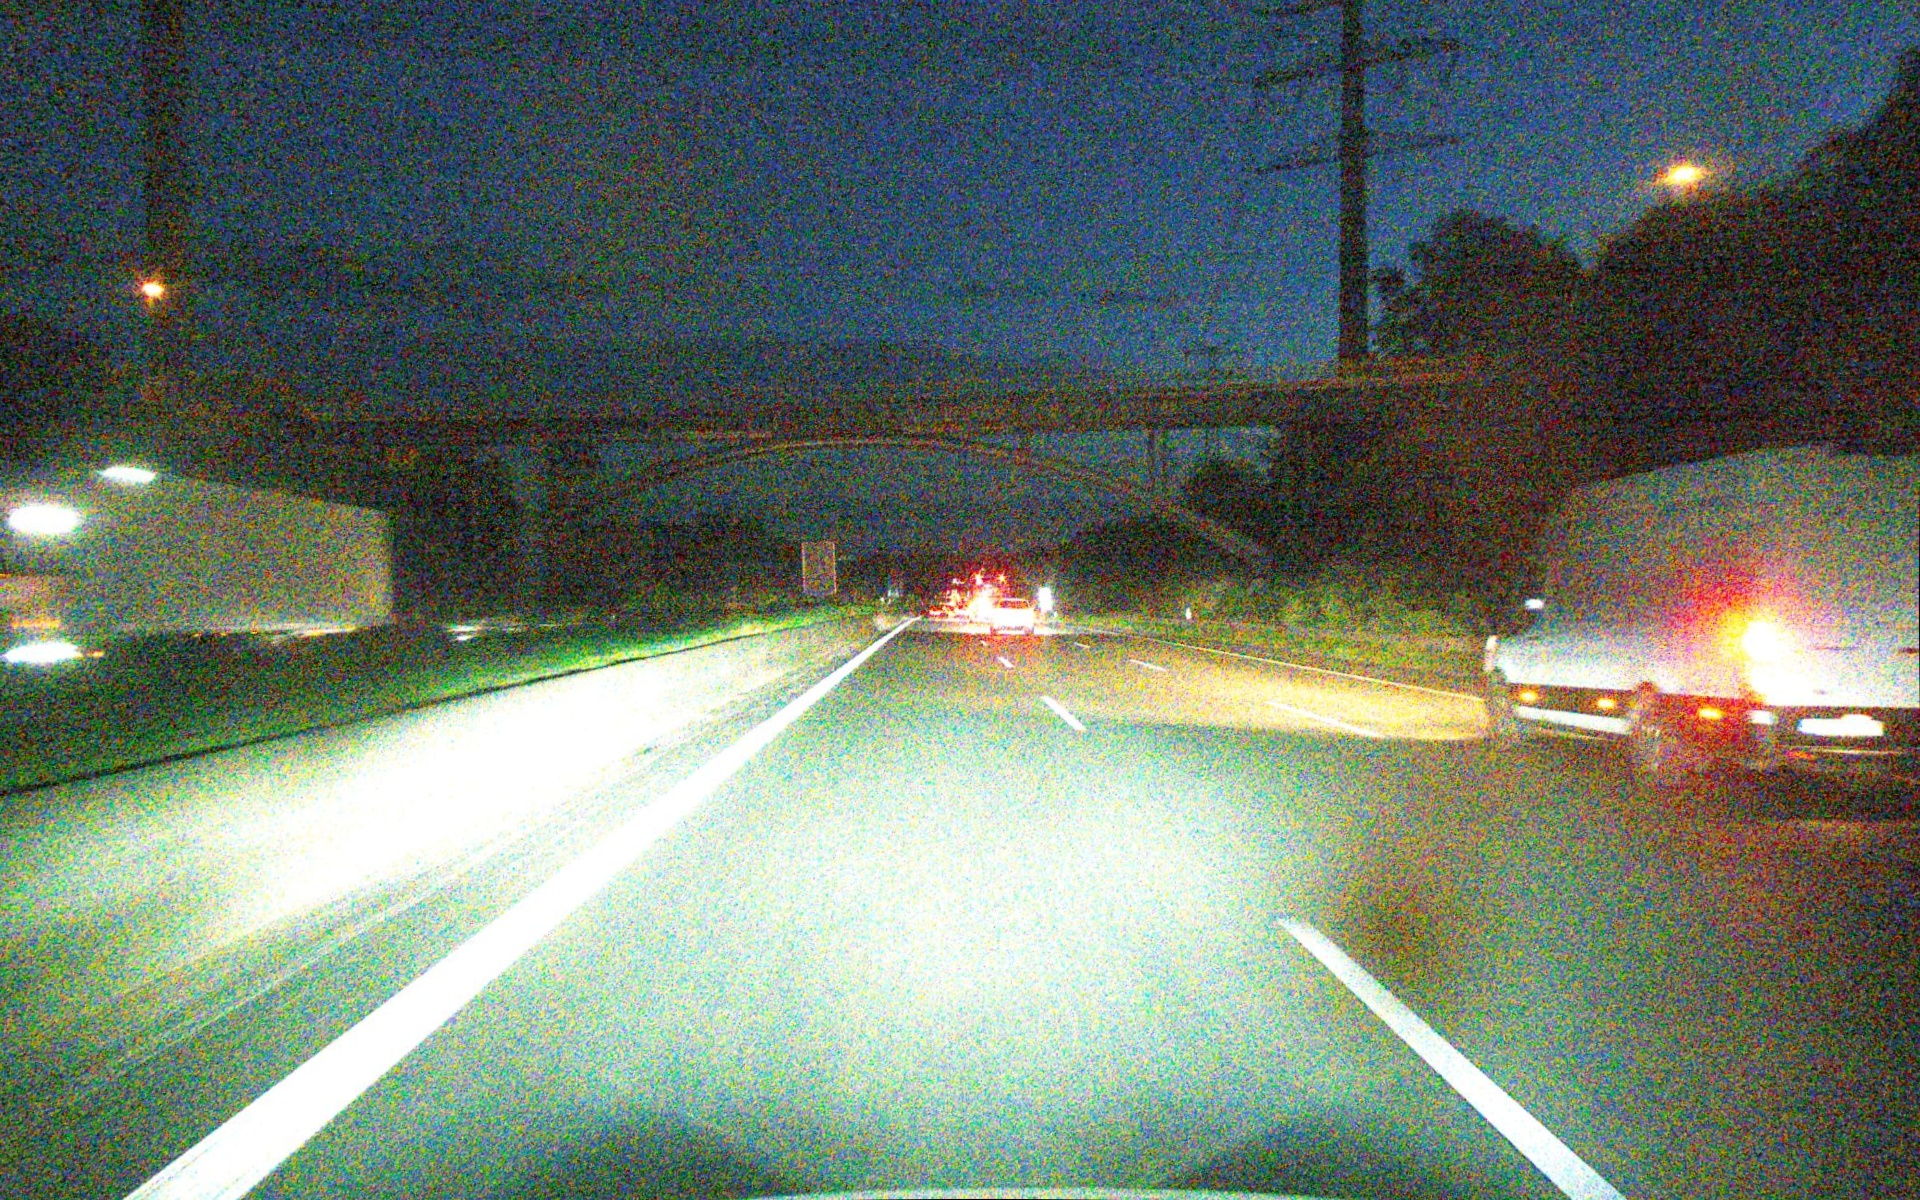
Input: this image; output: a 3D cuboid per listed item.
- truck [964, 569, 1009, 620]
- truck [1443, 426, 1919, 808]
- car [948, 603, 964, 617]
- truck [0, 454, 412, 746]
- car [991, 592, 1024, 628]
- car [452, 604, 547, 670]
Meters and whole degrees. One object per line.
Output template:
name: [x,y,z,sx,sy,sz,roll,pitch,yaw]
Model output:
truck: [1.834,-0.473,118.772,2.982,3.382,10.142,1,1,0]
truck: [6.787,0.188,15.657,2.035,2.738,7.304,1,-1,-2]
car: [-0.461,1.121,187.369,1.783,1.491,4.248,1,1,0]
truck: [-15.943,-0.252,34.732,3.181,4.566,17.438,1,1,-1]
car: [2.050,0.428,72.623,1.318,1.411,3.502,1,1,0]
car: [-12.802,1.005,46.218,1.601,1.615,3.999,1,1,-1]
